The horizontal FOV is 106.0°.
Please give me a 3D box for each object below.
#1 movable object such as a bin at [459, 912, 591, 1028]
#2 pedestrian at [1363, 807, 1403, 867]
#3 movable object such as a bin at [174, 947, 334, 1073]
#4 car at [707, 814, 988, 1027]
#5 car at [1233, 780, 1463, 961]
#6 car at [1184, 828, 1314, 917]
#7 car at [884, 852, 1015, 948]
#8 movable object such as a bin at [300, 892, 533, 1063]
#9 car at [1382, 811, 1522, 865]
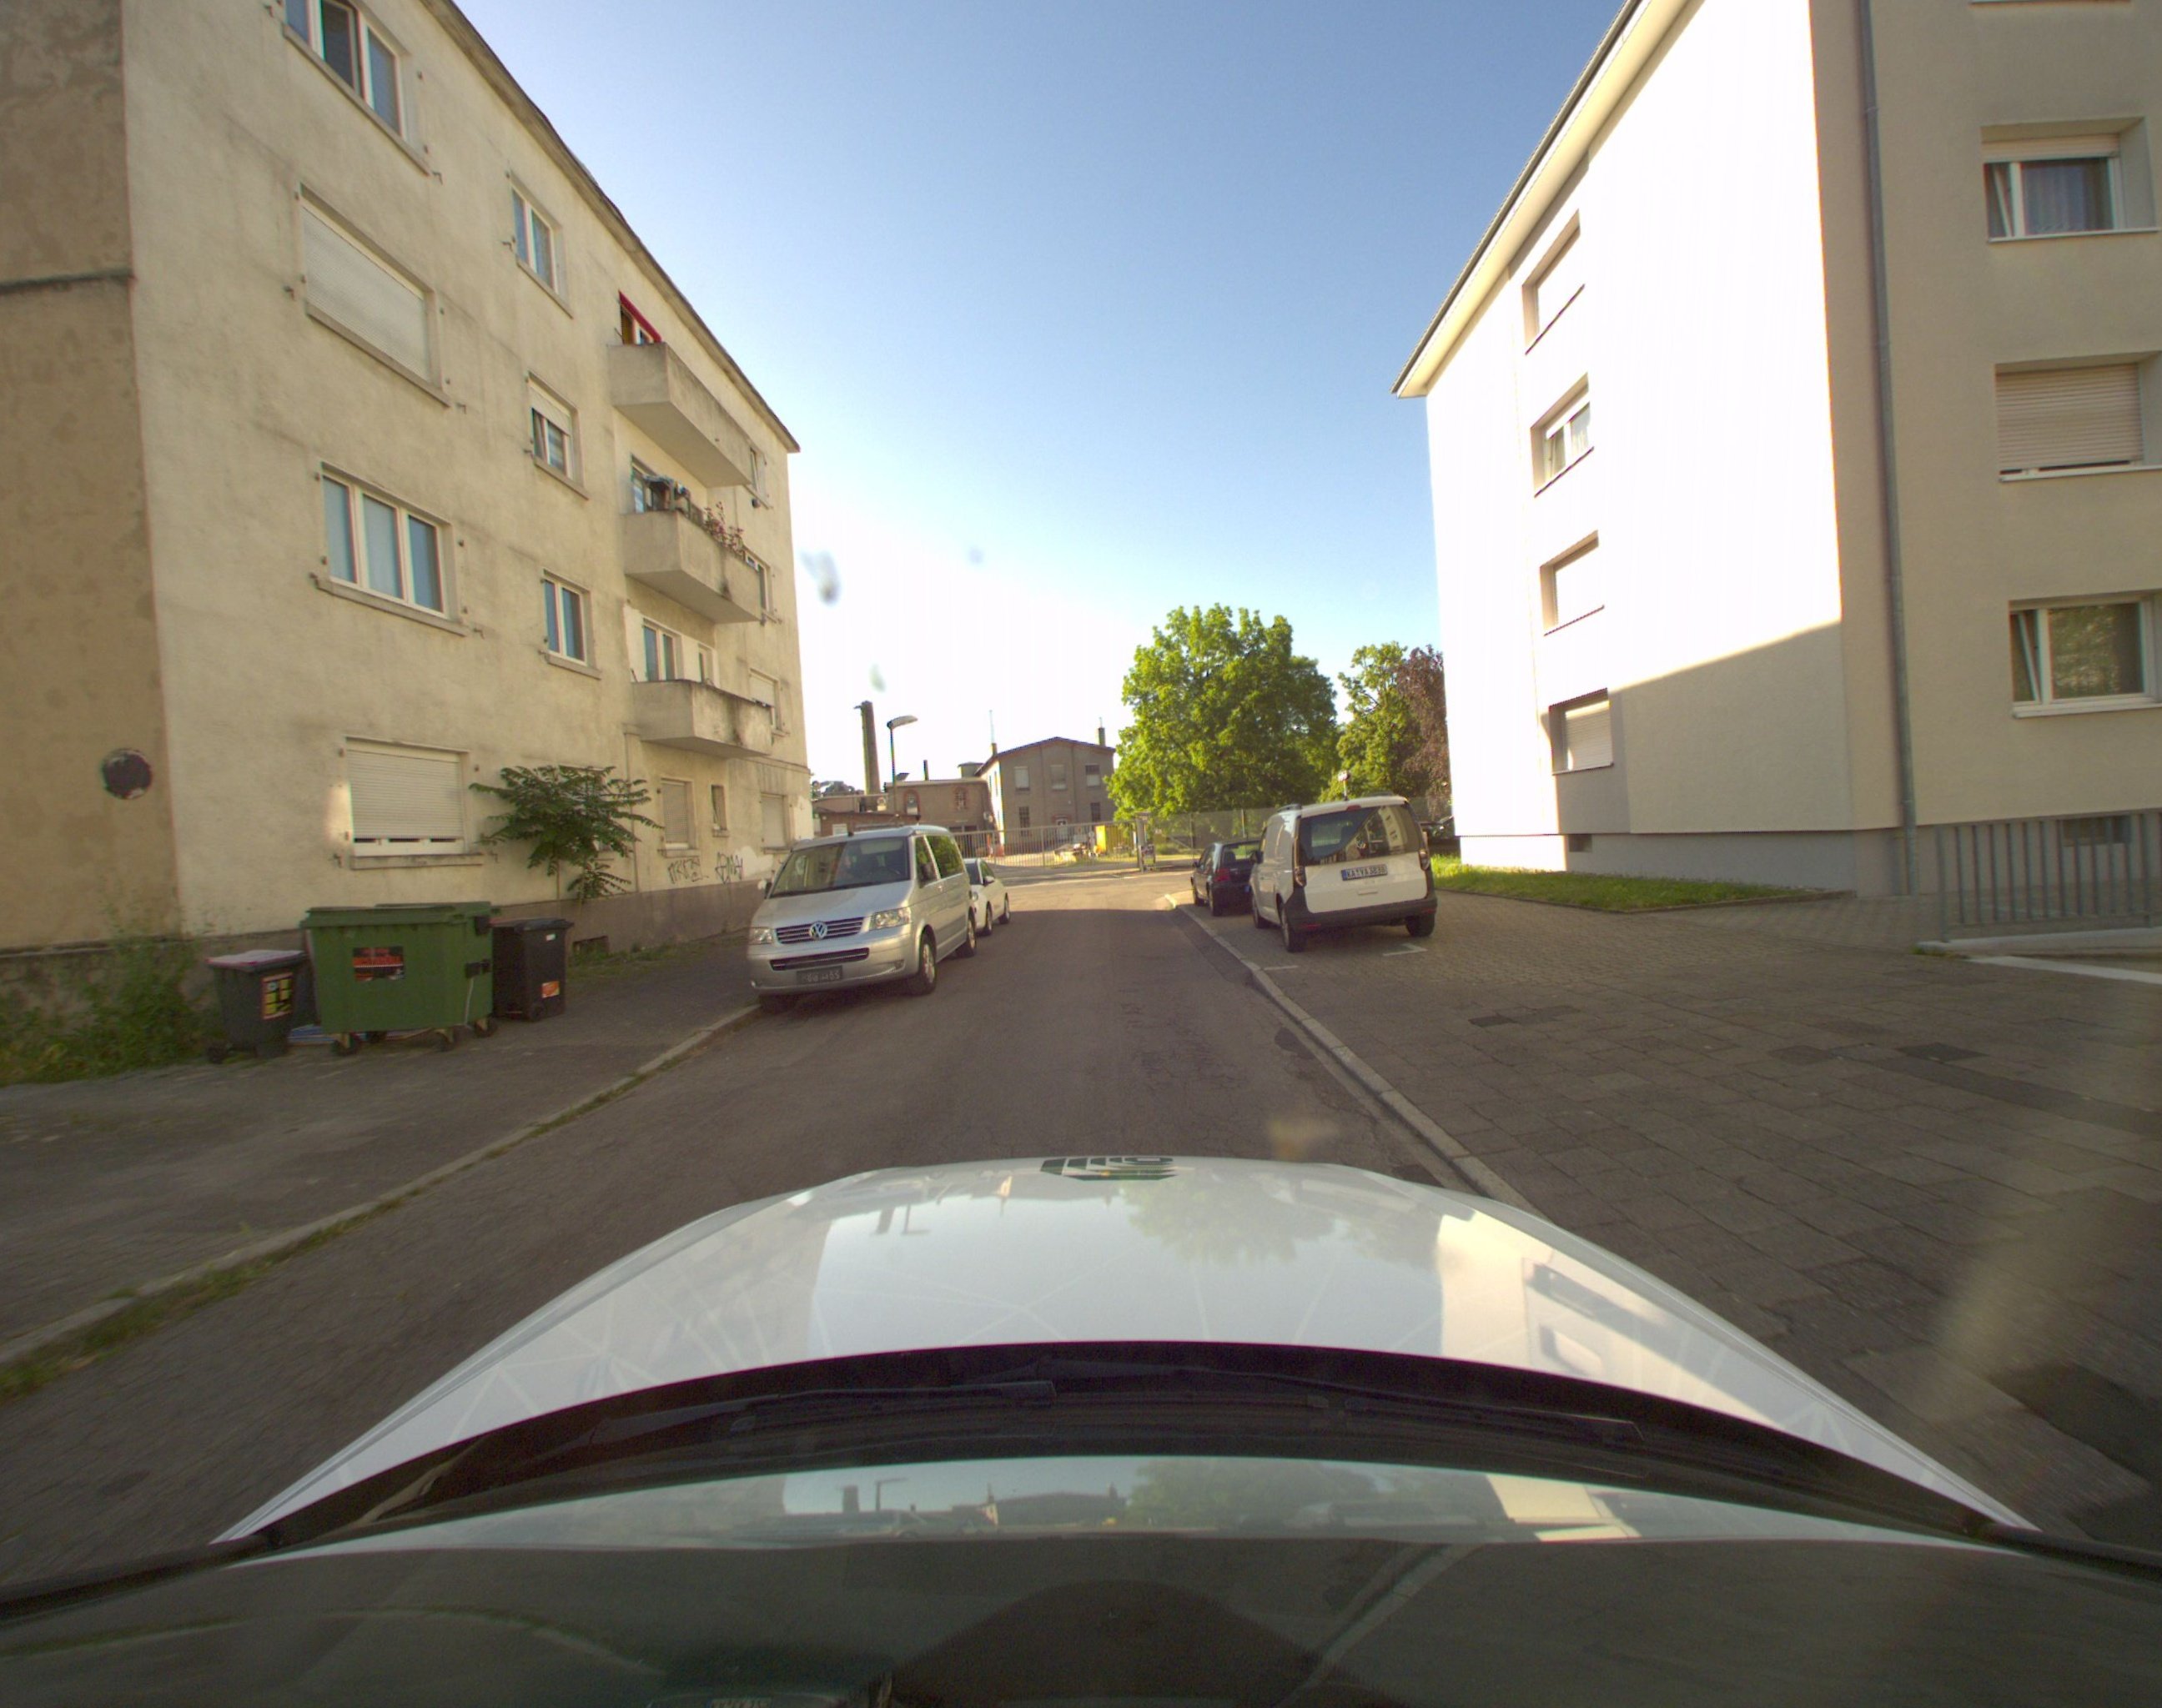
[{"bbox_3d":[-5.922,1.216,8.723,0.770,1.079,0.816,-3,1,1],"label":"movable object such as a bin"},{"bbox_3d":[9.283,-0.531,25.062,0.839,1.771,0.644,-4,1,-13],"label":"pedestrian"},{"bbox_3d":[-7.442,1.388,7.358,0.770,0.974,0.592,-3,1,1],"label":"movable object such as a bin"},{"bbox_3d":[-2.601,0.623,10.539,1.944,1.933,4.858,-6,1,1],"label":"car"},{"bbox_3d":[3.426,0.151,11.445,1.790,1.845,4.543,-7,1,3],"label":"car"},{"bbox_3d":[3.318,0.311,16.836,1.791,1.414,4.050,-7,1,1],"label":"car"},{"bbox_3d":[-2.470,0.806,16.175,1.680,1.458,3.724,-6,1,3],"label":"car"},{"bbox_3d":[-6.208,1.113,7.700,1.251,1.376,1.045,-3,1,1],"label":"movable object such as a bin"},{"bbox_3d":[12.747,-0.539,28.104,4.060,1.548,1.622,-4,1,-1],"label":"car"}]
